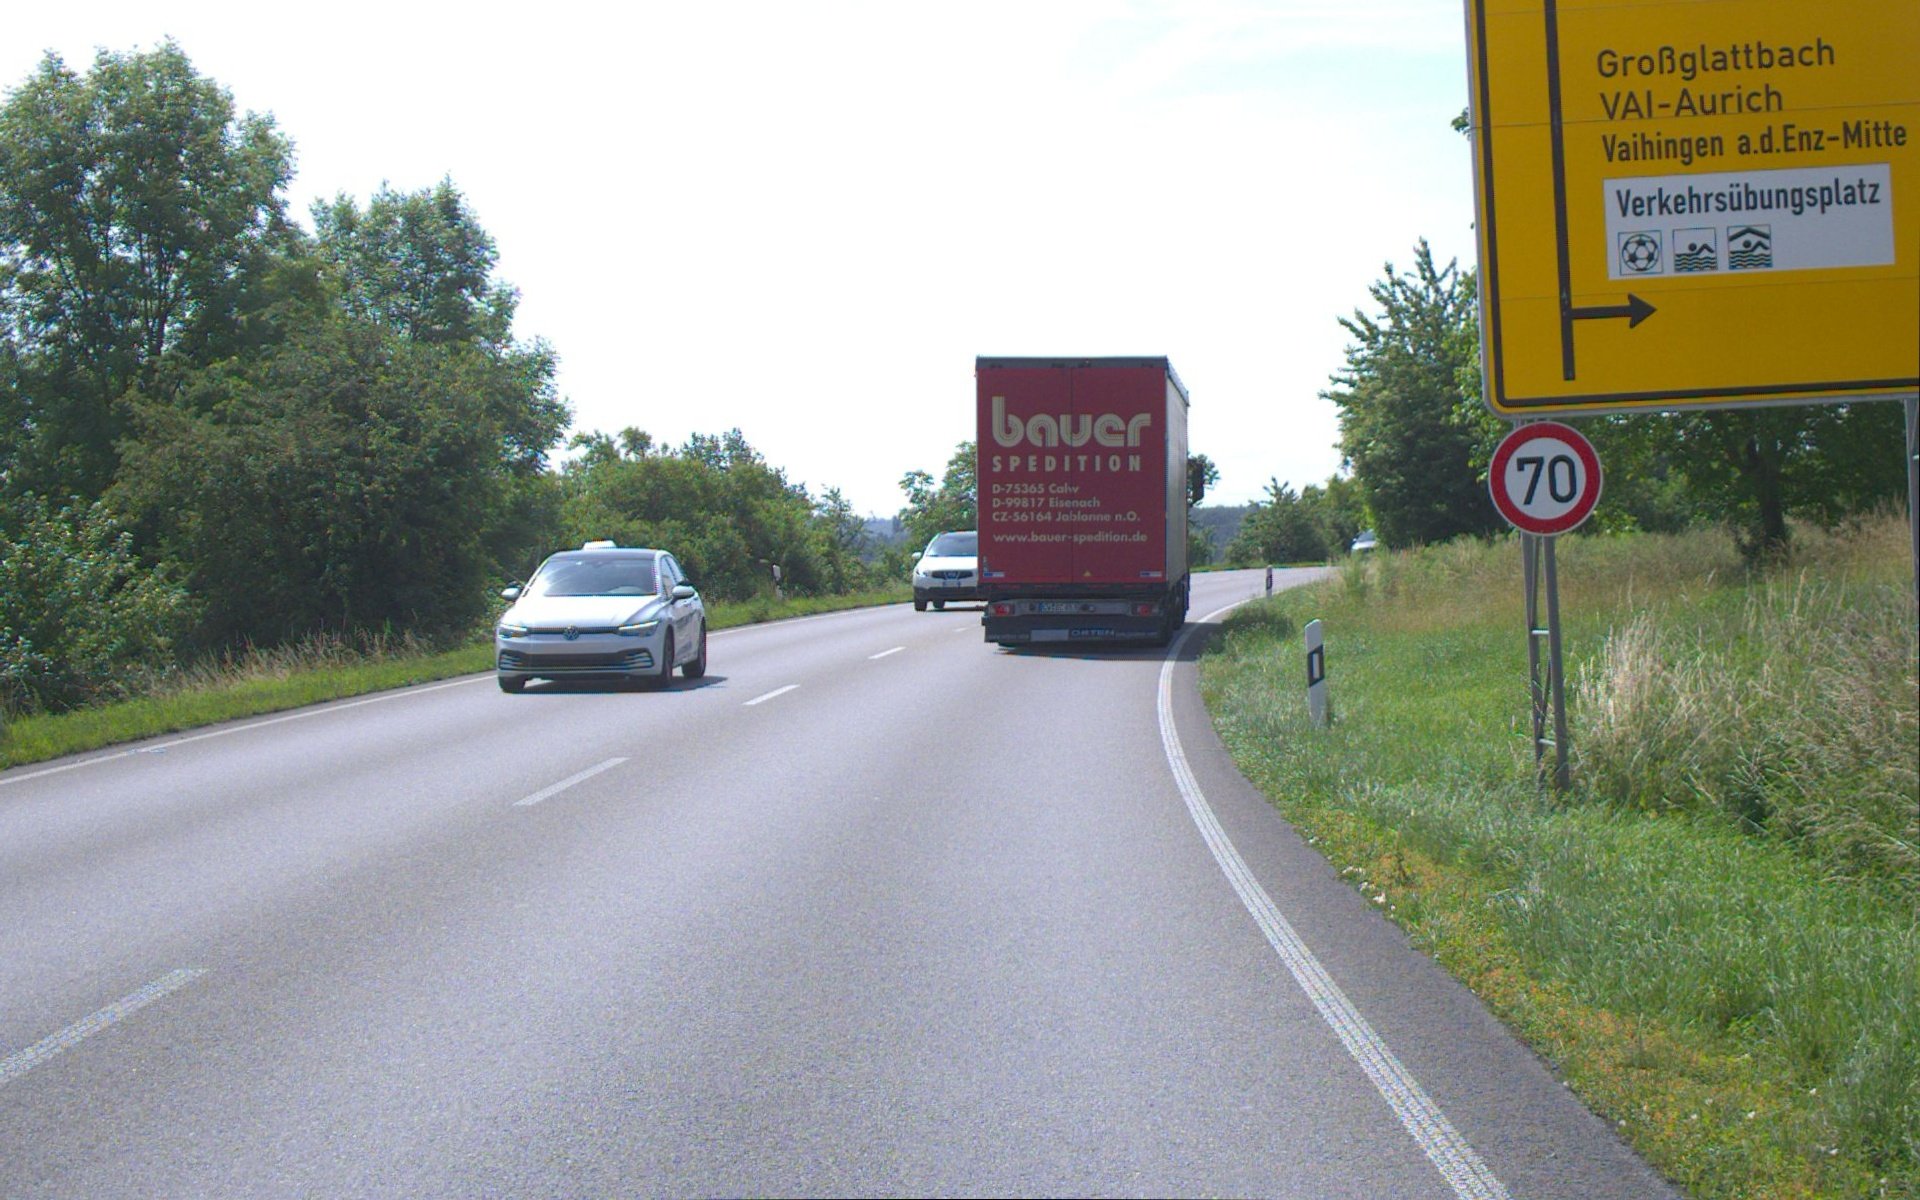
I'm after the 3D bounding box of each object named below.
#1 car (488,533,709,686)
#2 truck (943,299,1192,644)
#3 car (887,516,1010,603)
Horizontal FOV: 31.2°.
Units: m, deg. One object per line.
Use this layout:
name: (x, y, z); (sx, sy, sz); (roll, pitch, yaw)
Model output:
car: (-3.806, 0.057, 36.853); (1.790, 1.517, 4.160); (-1, 1, 2)
truck: (1.817, -1.734, 51.189); (3.113, 4.490, 12.165); (1, 0, 4)
car: (-0.209, -0.876, 72.260); (1.834, 1.611, 4.361); (-4, 1, 8)
